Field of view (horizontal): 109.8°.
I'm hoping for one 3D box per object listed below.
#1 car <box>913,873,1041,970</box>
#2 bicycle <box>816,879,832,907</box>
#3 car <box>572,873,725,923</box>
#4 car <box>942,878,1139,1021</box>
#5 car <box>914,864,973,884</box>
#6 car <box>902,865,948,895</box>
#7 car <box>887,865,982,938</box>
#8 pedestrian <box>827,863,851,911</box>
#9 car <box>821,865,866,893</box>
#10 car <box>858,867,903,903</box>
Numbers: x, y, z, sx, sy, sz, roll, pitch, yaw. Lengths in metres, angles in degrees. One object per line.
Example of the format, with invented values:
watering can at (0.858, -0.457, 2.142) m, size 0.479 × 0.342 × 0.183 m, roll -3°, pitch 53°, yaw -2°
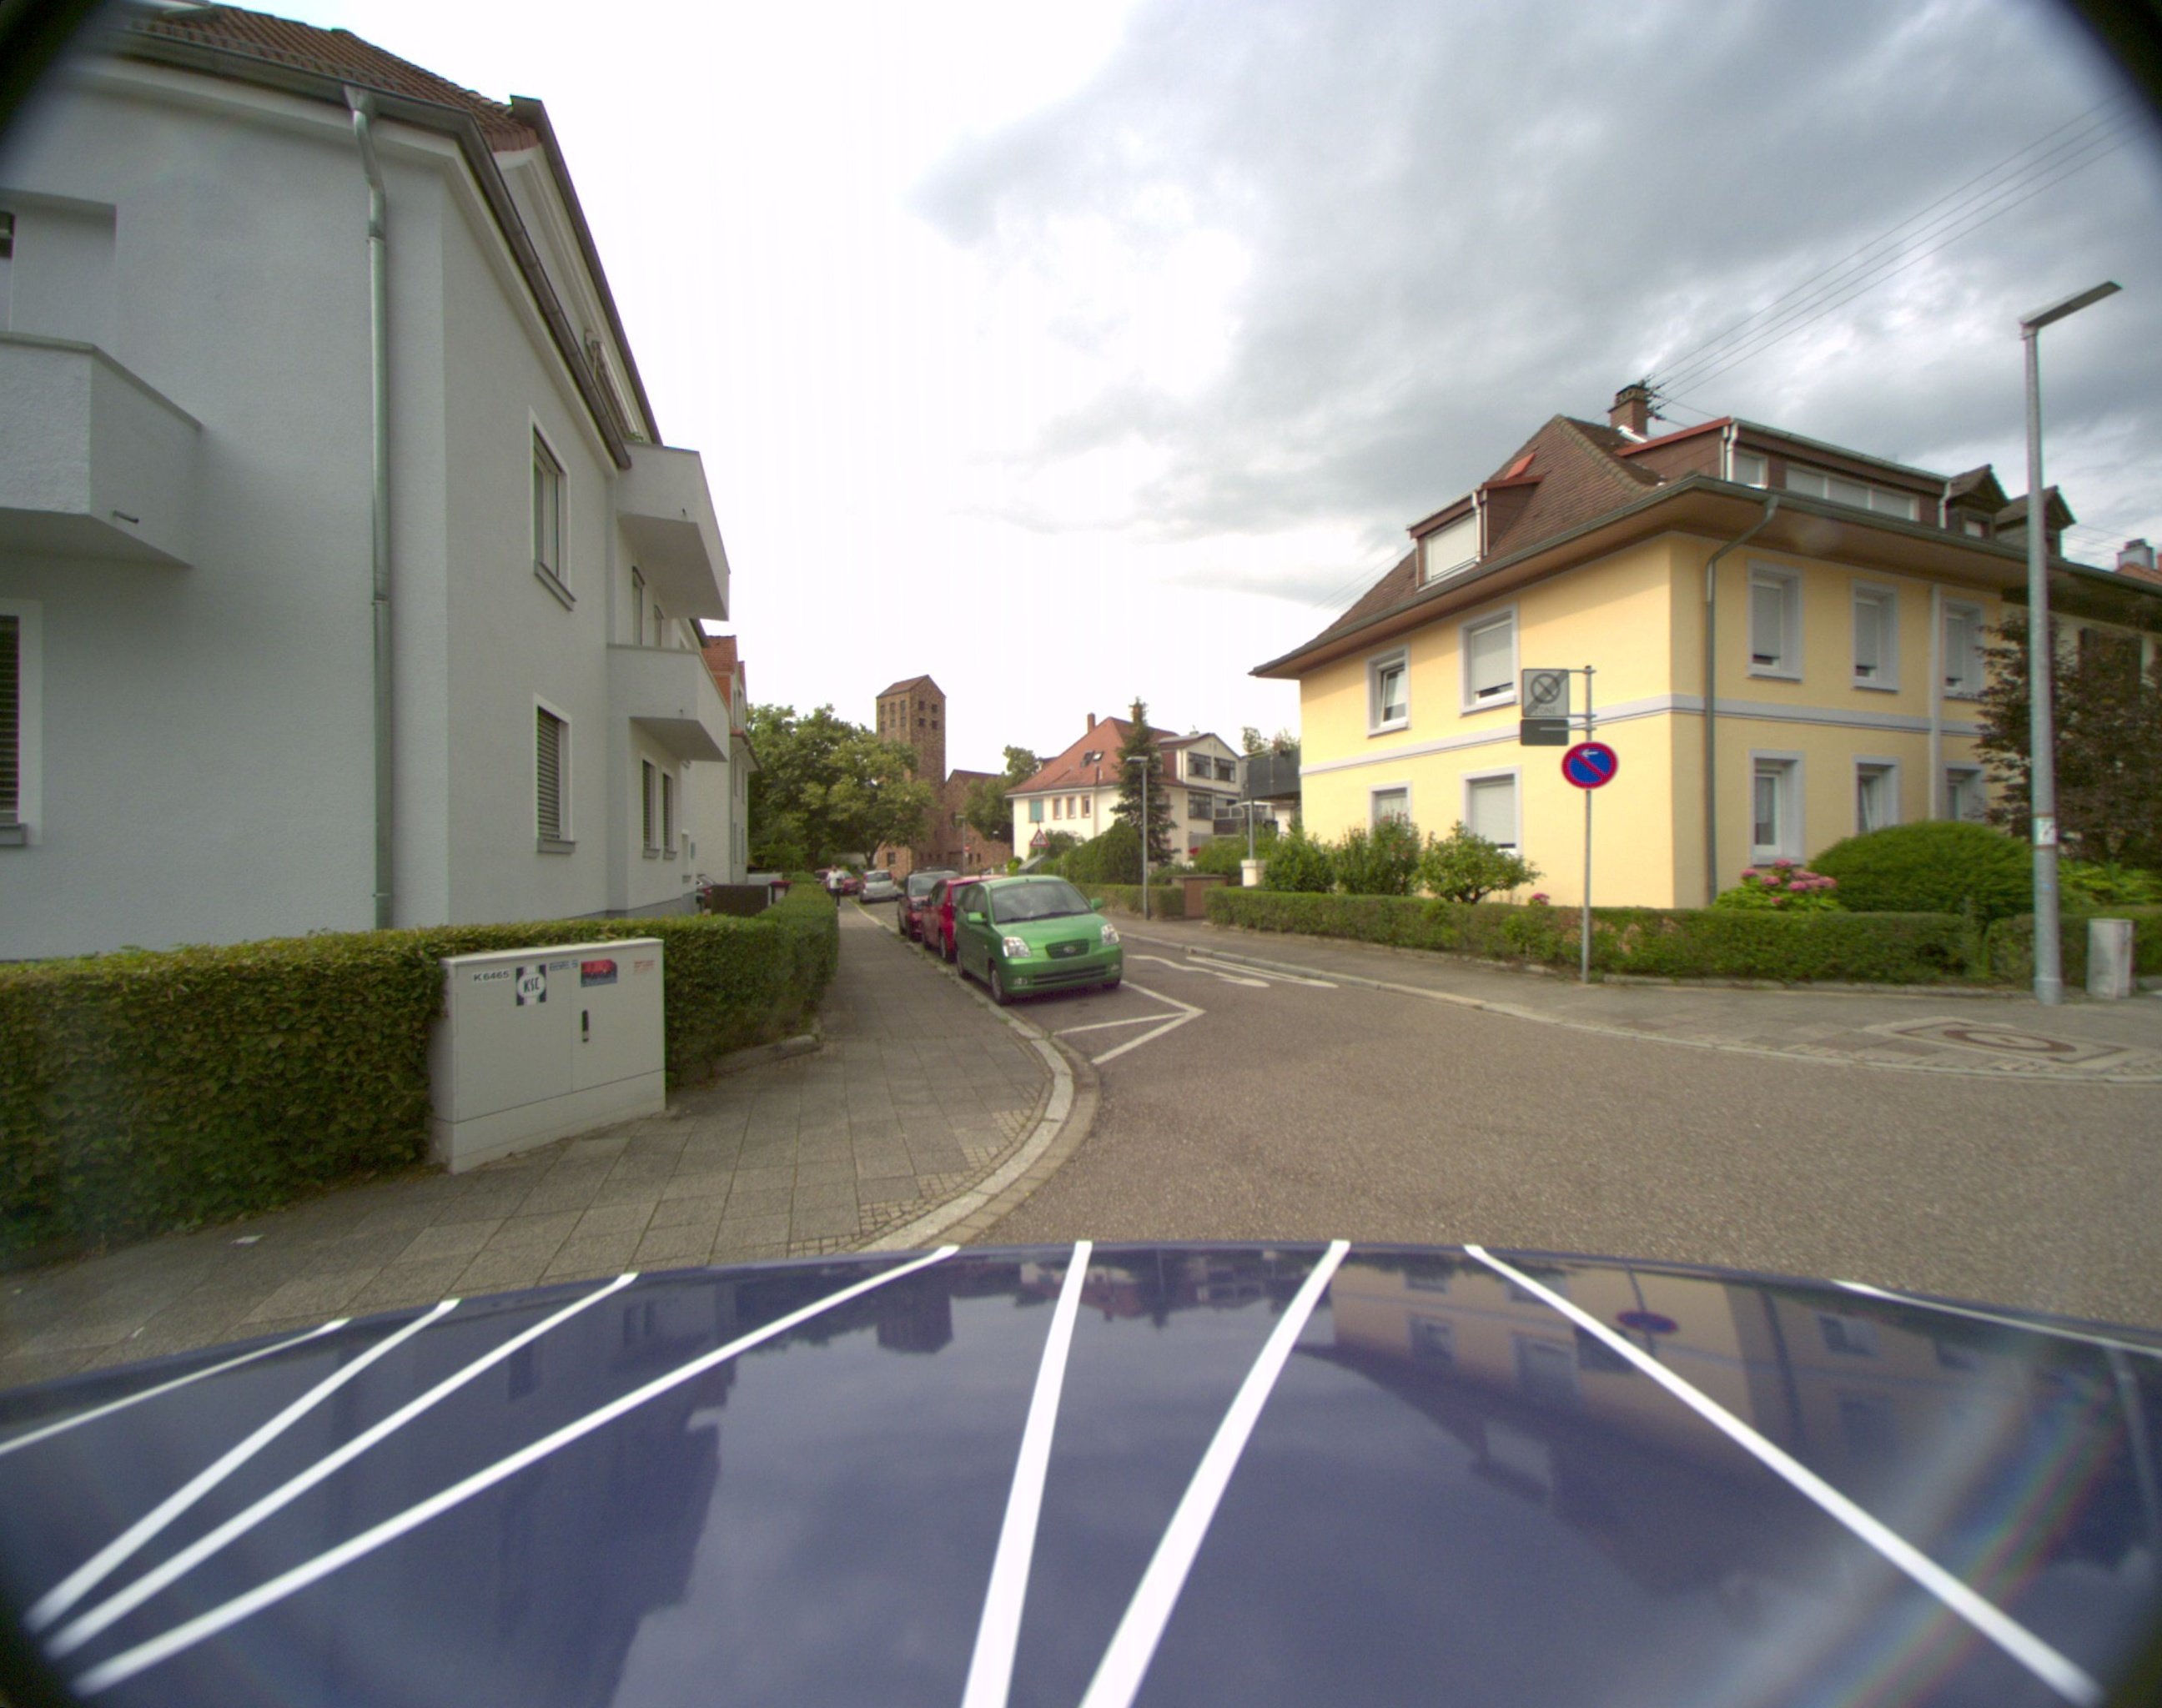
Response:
car at (-2.129, 1.179, 14.719) m, size 1.652 × 1.487 × 3.475 m, roll -4°, pitch 1°, yaw -20°
bicycle at (-10.846, 1.629, 32.040) m, size 0.424 × 1.097 × 2.111 m, roll -1°, pitch 0°, yaw -23°
car at (-13.881, 1.380, 24.680) m, size 4.003 × 1.455 × 1.997 m, roll 0°, pitch 0°, yaw -19°
car at (-0.730, 1.122, 10.367) m, size 1.652 × 1.414 × 3.475 m, roll -4°, pitch 1°, yaw -20°
car at (-10.586, 1.522, 58.482) m, size 4.232 × 1.456 × 1.681 m, roll 0°, pitch 1°, yaw -20°
car at (-8.483, 1.384, 41.148) m, size 1.856 × 1.472 × 4.035 m, roll 2°, pitch -1°, yaw -20°
car at (-3.699, 1.084, 18.754) m, size 1.652 × 1.487 × 3.475 m, roll -4°, pitch 1°, yaw -20°
pedestrian at (-9.756, 1.320, 30.577) m, size 0.885 × 1.867 × 1.077 m, roll -1°, pitch 0°, yaw -19°
car at (-13.967, 1.466, 44.562) m, size 1.653 × 1.487 × 3.473 m, roll -4°, pitch 1°, yaw -31°
car at (-9.589, 1.430, 36.192) m, size 1.652 × 1.487 × 3.475 m, roll -4°, pitch 1°, yaw -20°
